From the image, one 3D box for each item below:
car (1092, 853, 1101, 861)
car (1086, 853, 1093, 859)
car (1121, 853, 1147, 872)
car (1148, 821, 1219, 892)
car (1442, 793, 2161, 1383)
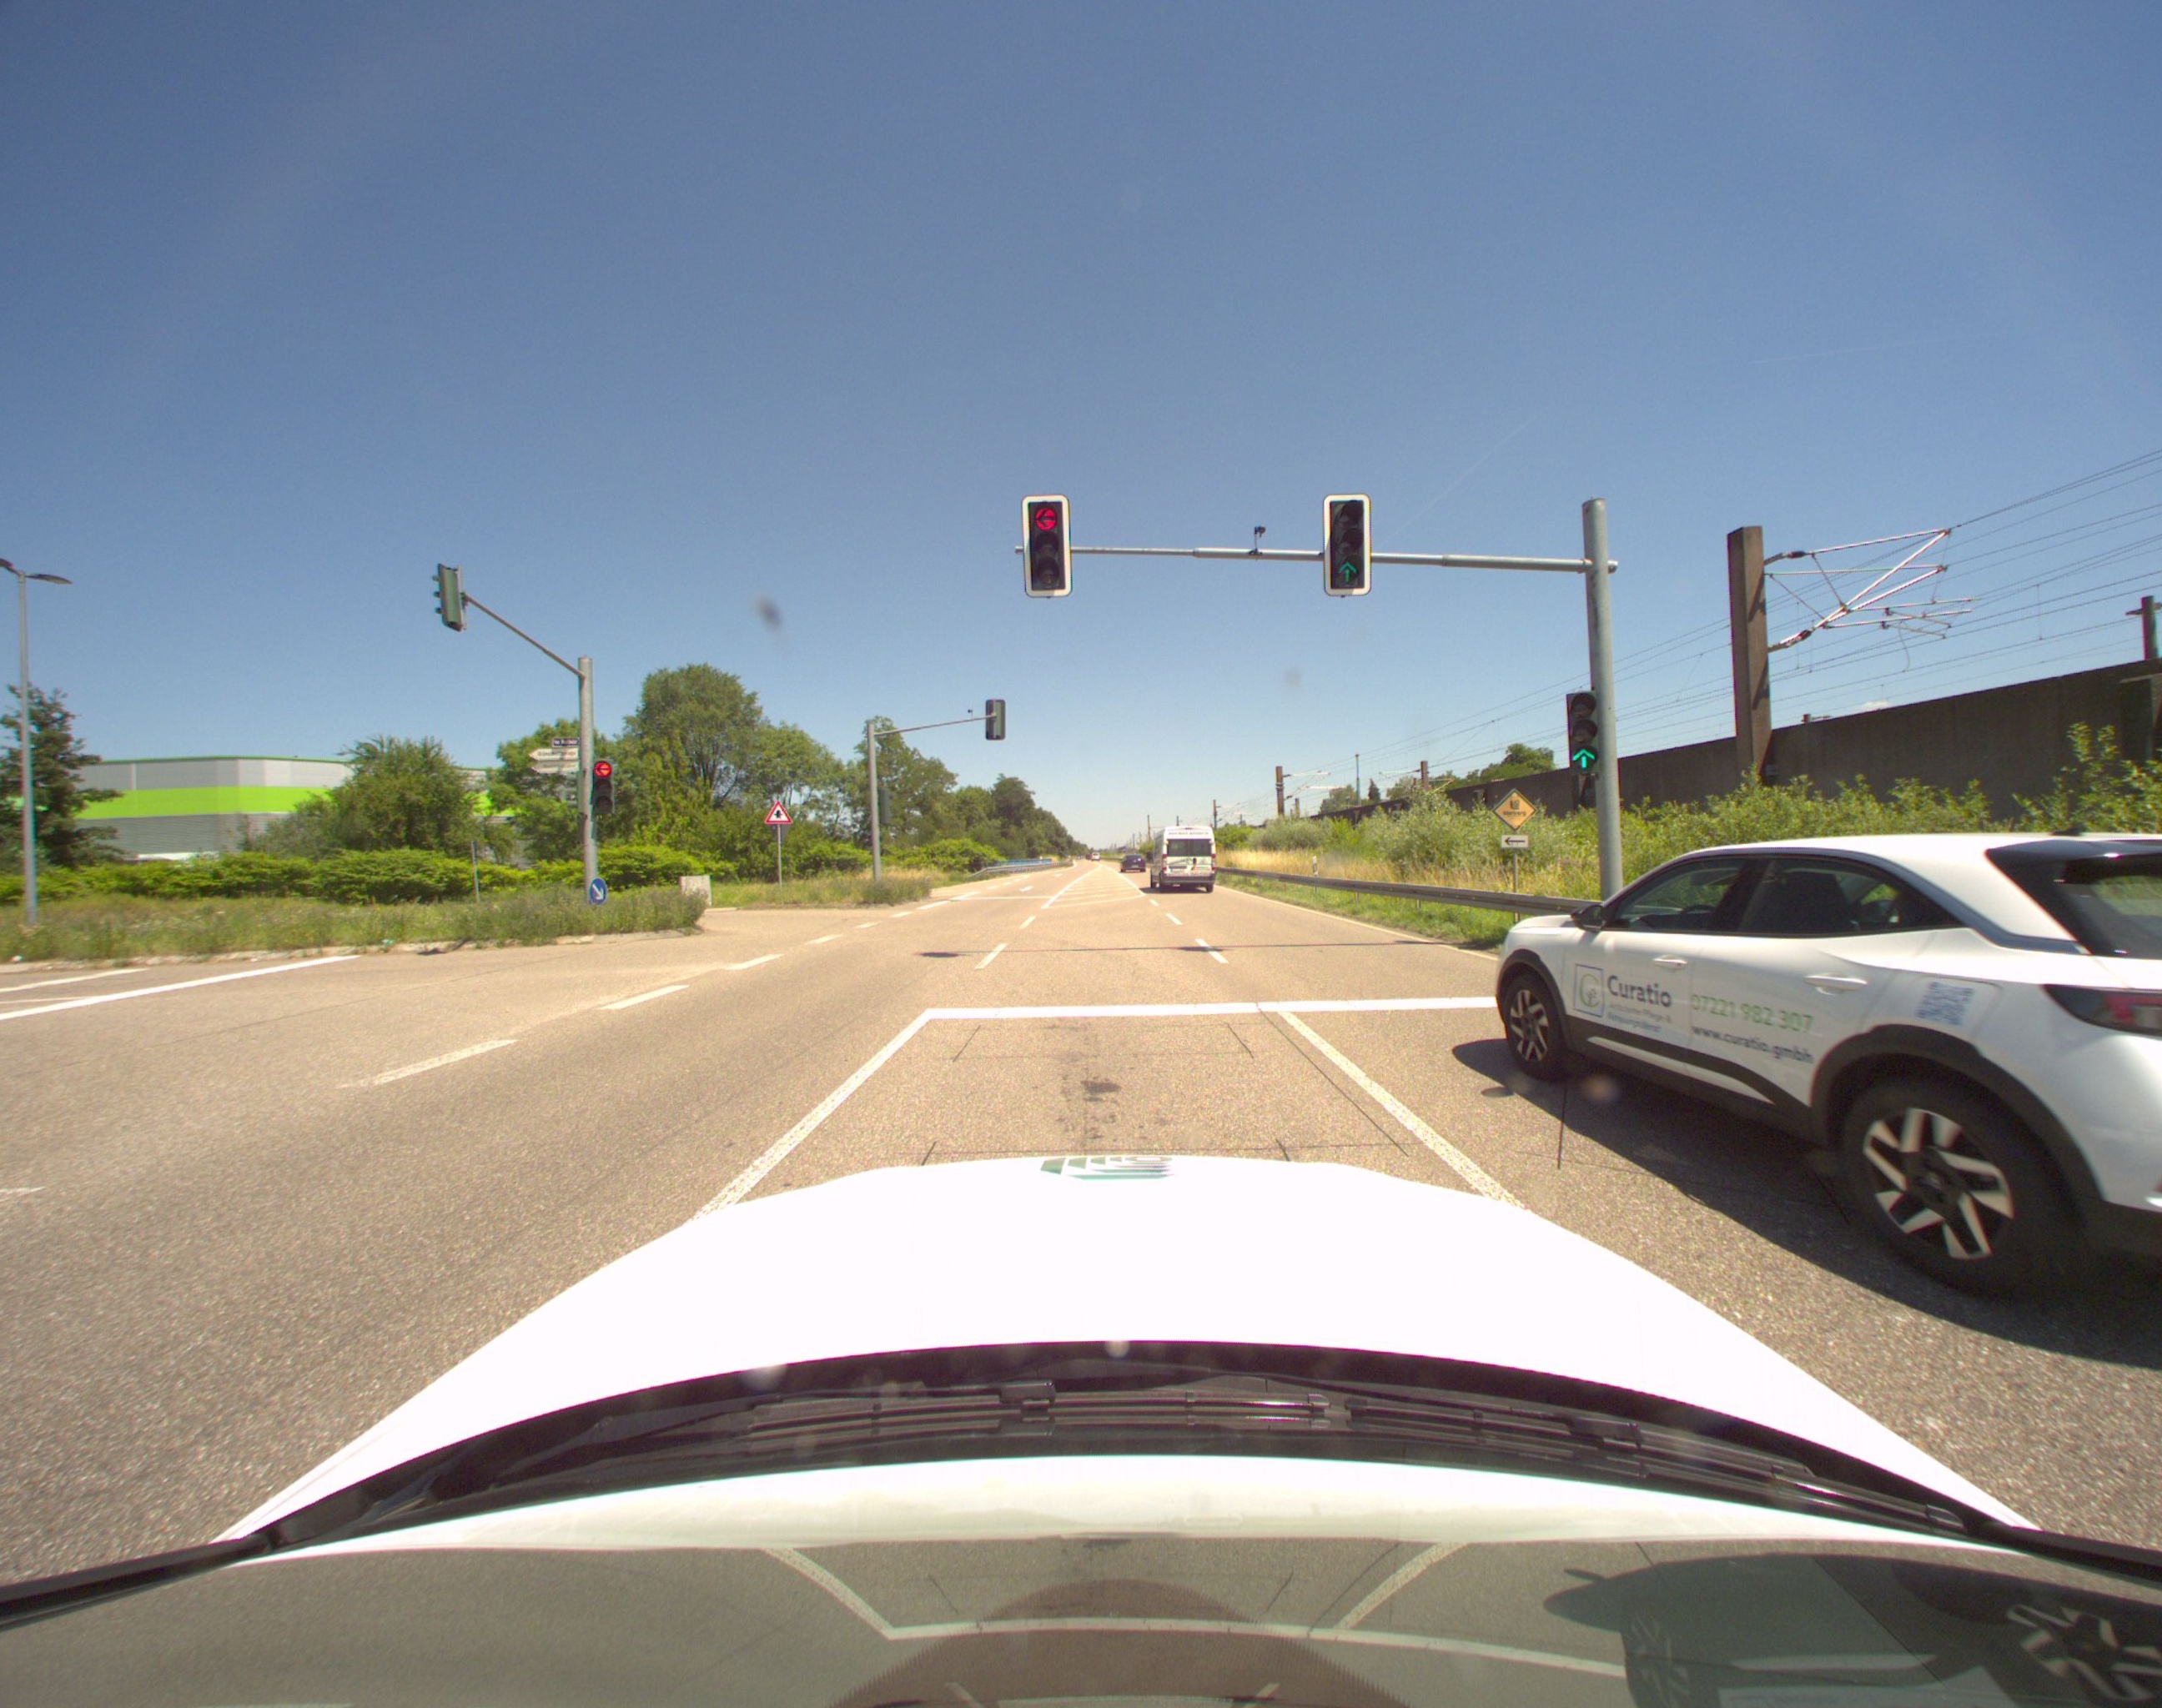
[{"bbox_3d":[3.666,0.676,193.361,1.987,1.983,4.059,-1,0,0],"label":"car"},{"bbox_3d":[2.429,0.595,245.246,2.013,1.726,4.542,-1,0,0],"label":"car"},{"bbox_3d":[4.140,0.666,64.075,1.850,1.379,4.504,-1,0,1],"label":"car"},{"bbox_3d":[4.021,0.077,33.167,2.180,2.604,6.752,-1,0,1],"label":"car"},{"bbox_3d":[3.735,0.600,4.179,1.812,1.564,4.277,-1,0,-1],"label":"car"}]
